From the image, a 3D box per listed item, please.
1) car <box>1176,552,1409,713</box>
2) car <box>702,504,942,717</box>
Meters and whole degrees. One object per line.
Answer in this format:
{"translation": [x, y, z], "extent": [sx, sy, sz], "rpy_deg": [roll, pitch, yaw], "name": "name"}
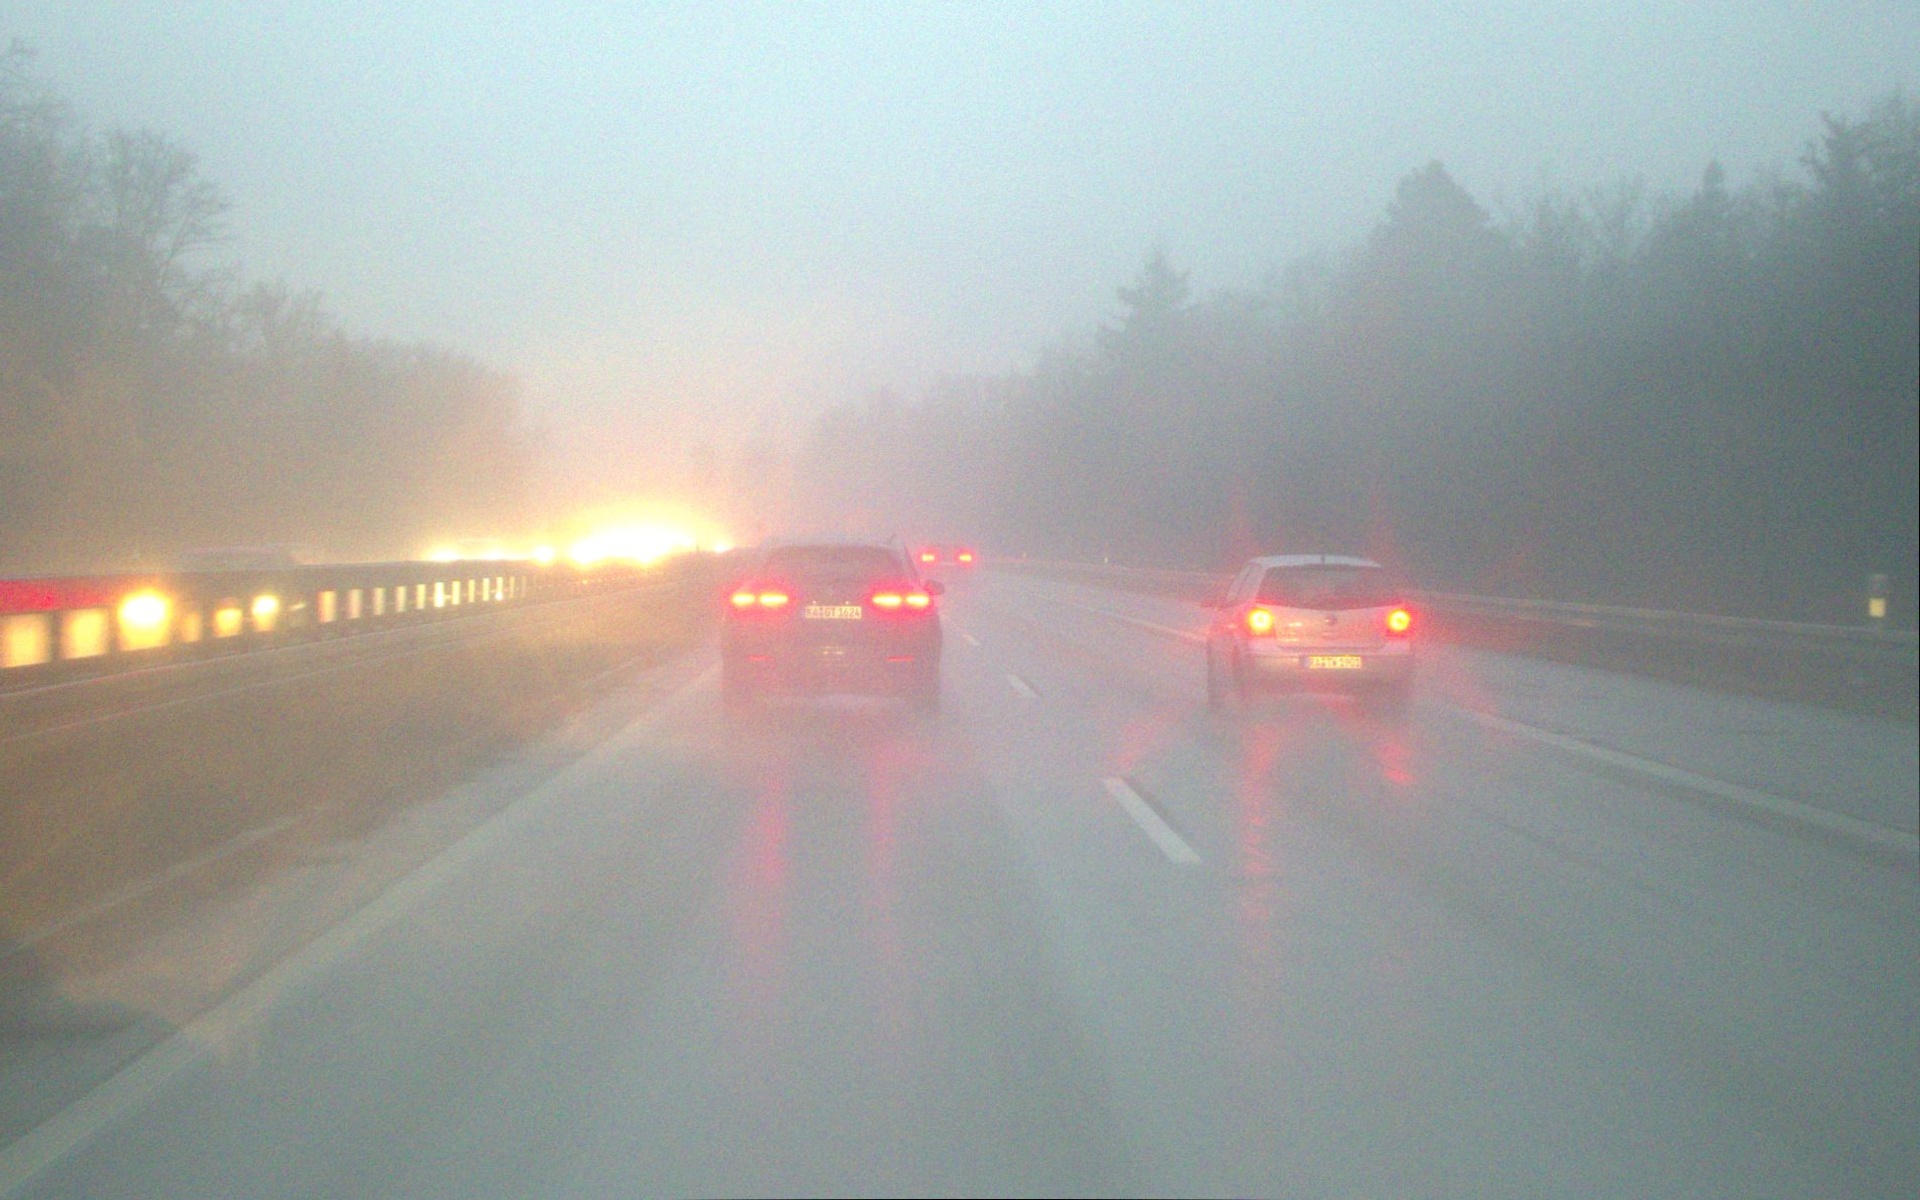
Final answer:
{"translation": [3.133, 0.269, 32.978], "extent": [1.780, 1.432, 3.537], "rpy_deg": [0, 1, -2], "name": "car"}
{"translation": [-1.228, 0.047, 30.743], "extent": [1.986, 1.761, 4.174], "rpy_deg": [0, 1, -2], "name": "car"}
